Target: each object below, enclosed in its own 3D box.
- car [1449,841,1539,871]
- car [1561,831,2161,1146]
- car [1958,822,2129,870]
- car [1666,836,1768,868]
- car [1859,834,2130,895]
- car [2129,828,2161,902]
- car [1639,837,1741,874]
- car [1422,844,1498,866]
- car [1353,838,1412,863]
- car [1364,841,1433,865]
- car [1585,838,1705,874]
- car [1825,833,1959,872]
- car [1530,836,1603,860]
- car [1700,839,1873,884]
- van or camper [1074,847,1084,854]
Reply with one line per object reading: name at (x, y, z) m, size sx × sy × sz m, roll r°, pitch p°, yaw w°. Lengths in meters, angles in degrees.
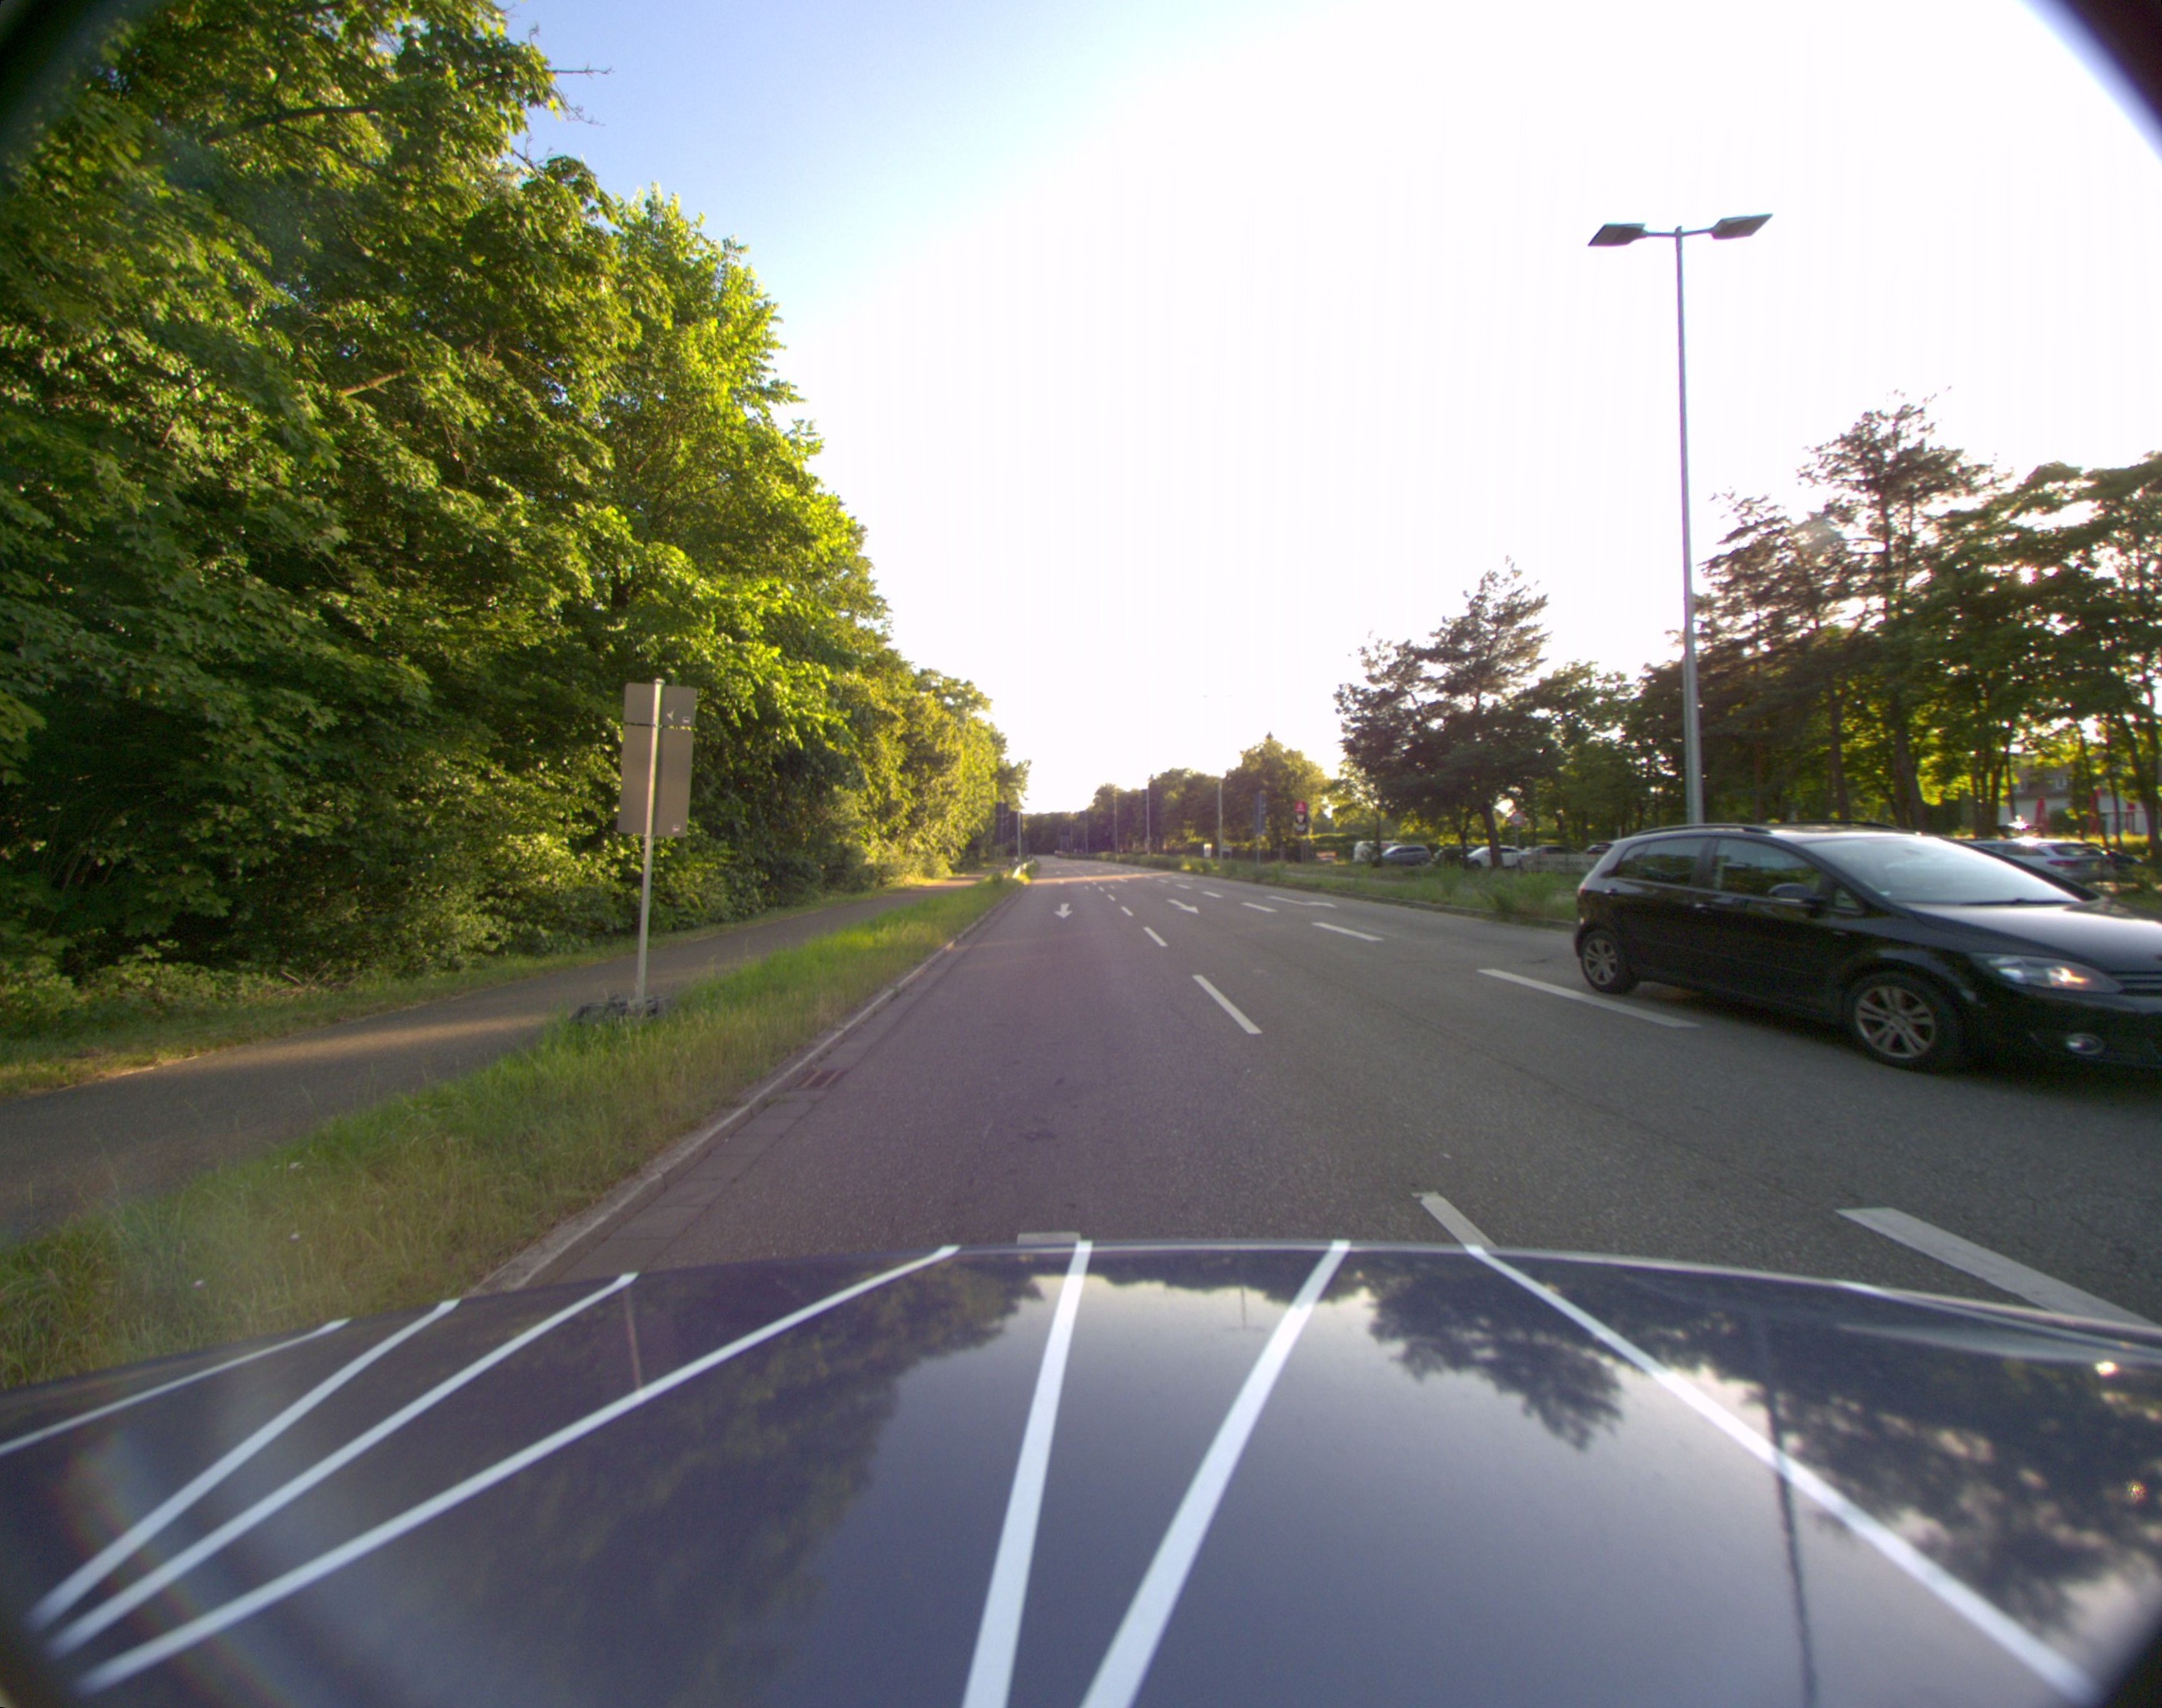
car at (25.167, 0.132, 46.403) m, size 4.497 × 1.743 × 1.909 m, roll -1°, pitch 1°, yaw -1°
car at (5.950, 0.637, 5.760) m, size 1.999 × 1.543 × 3.999 m, roll -1°, pitch 0°, yaw -2°
car at (34.978, -0.284, 27.688) m, size 3.997 × 1.641 × 1.766 m, roll -1°, pitch 1°, yaw -1°
car at (34.077, -0.118, 40.799) m, size 3.997 × 1.641 × 1.766 m, roll -1°, pitch 1°, yaw -1°
car at (26.773, 0.248, 22.624) m, size 1.999 × 1.597 × 4.920 m, roll -1°, pitch 1°, yaw -4°
car at (27.105, 0.260, 16.416) m, size 1.999 × 1.776 × 4.920 m, roll -1°, pitch 1°, yaw -4°
car at (26.314, 0.070, 32.885) m, size 3.099 × 1.518 × 1.659 m, roll -1°, pitch 1°, yaw -2°
car at (24.227, 0.073, 48.645) m, size 3.997 × 1.304 × 1.732 m, roll -1°, pitch 1°, yaw -1°
car at (24.216, -0.250, 61.066) m, size 3.998 × 1.933 × 1.766 m, roll -1°, pitch 1°, yaw -2°
car at (24.186, -0.097, 58.027) m, size 4.498 × 1.787 × 1.909 m, roll -1°, pitch 1°, yaw -2°
car at (26.777, 0.106, 36.146) m, size 4.525 × 1.608 × 1.771 m, roll -1°, pitch 1°, yaw -3°
car at (35.418, -0.071, 33.244) m, size 3.997 × 1.641 × 1.766 m, roll -1°, pitch 1°, yaw -1°
car at (34.118, -0.399, 53.480) m, size 3.997 × 1.641 × 1.766 m, roll -1°, pitch 1°, yaw -1°
car at (26.418, 0.259, 28.733) m, size 1.999 × 1.539 × 4.708 m, roll -1°, pitch 1°, yaw -4°
van or camper at (-0.670, -0.978, 216.498) m, size 2.000 × 2.002 × 4.573 m, roll -1°, pitch 1°, yaw -10°
